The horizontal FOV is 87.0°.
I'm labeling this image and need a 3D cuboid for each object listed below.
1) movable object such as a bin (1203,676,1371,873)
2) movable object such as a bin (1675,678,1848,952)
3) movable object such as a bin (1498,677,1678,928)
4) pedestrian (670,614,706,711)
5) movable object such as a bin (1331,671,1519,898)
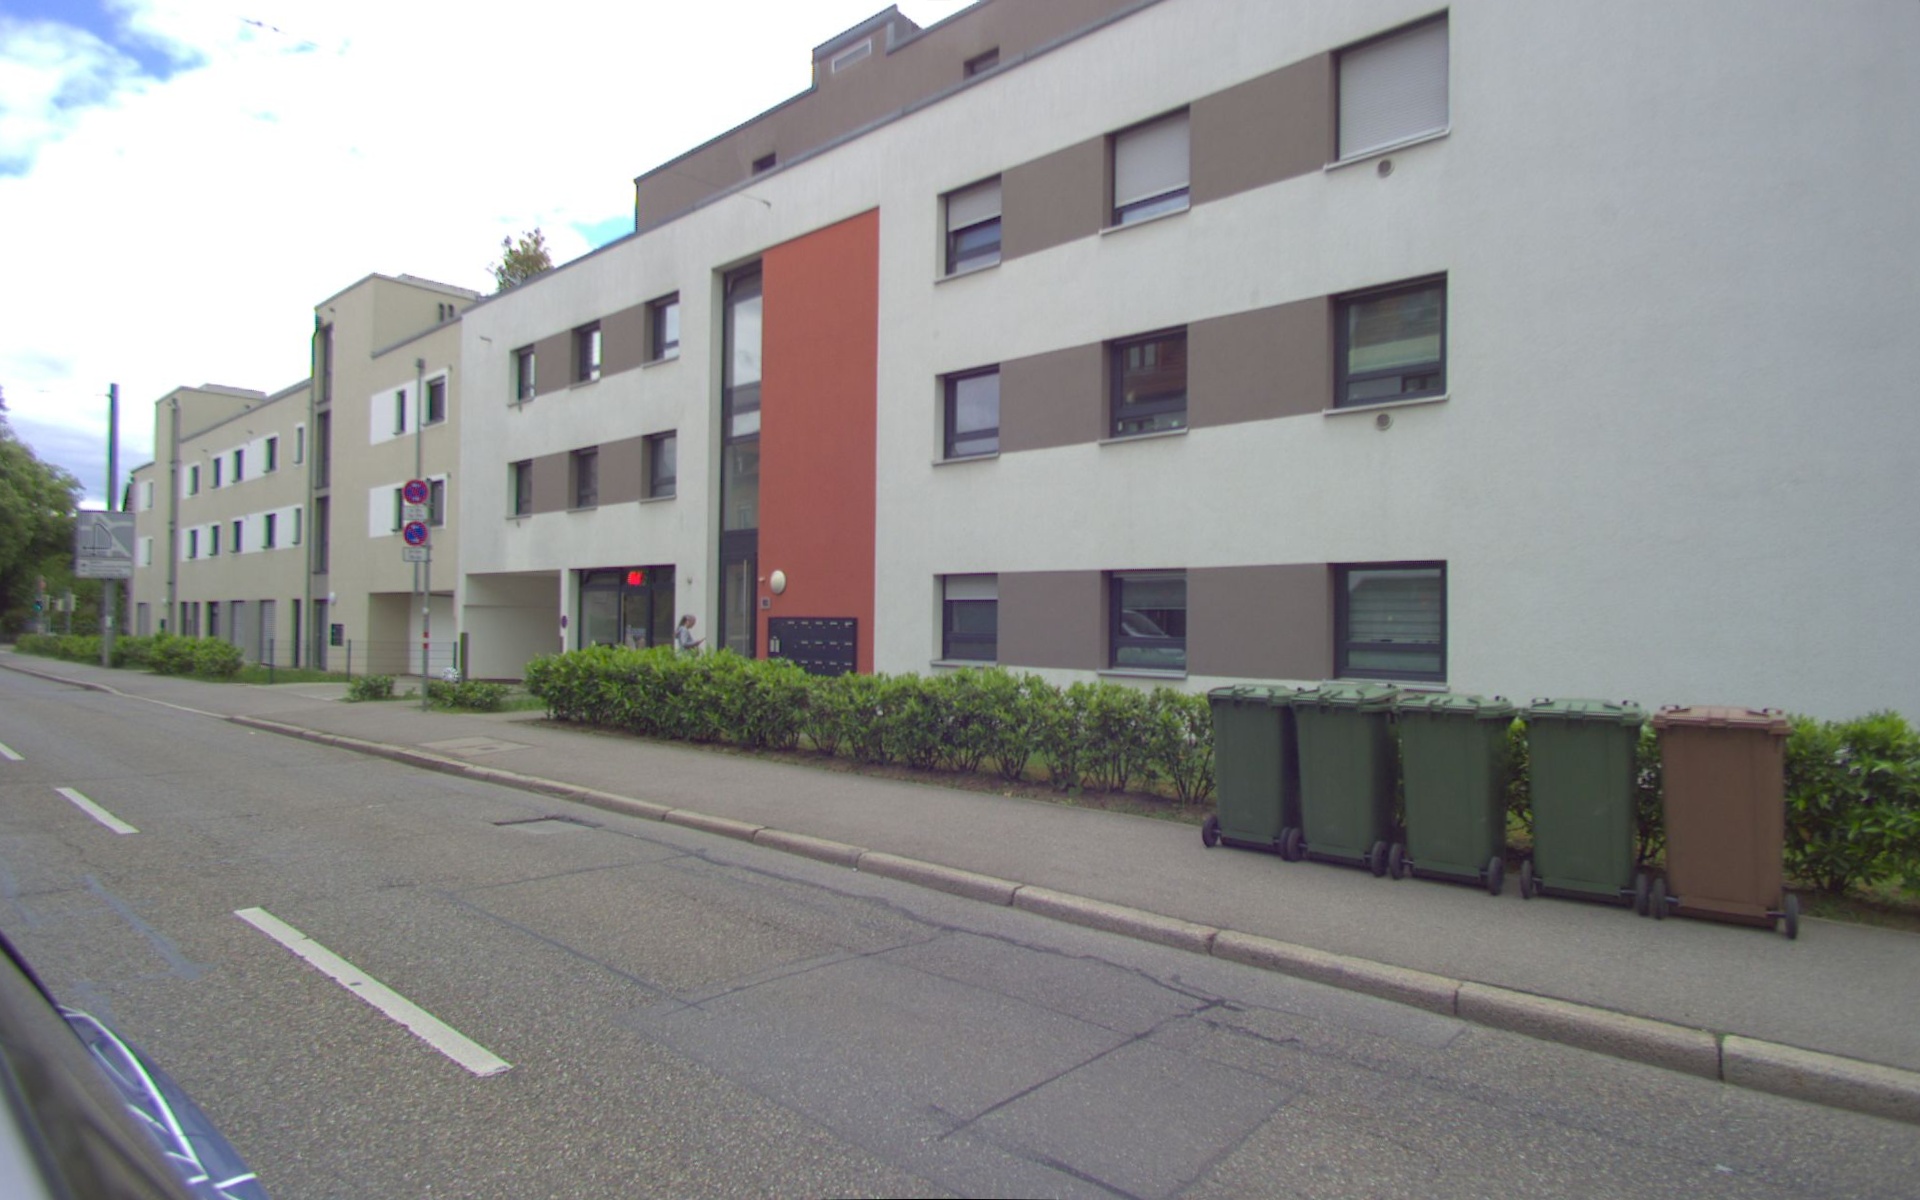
[{"bbox_3d":[2.128,1.072,6.558,0.791,1.097,0.886,-1,-2,37],"label":"movable object such as a bin"},{"bbox_3d":[3.990,1.003,5.088,0.612,1.160,0.932,-1,-2,37],"label":"movable object such as a bin"},{"bbox_3d":[3.446,1.028,5.531,0.748,1.160,0.940,-1,-2,37],"label":"movable object such as a bin"},{"bbox_3d":[-4.782,1.086,17.785,0.511,1.655,0.642,1,-2,-25],"label":"pedestrian"},{"bbox_3d":[2.796,1.030,6.063,0.839,1.160,0.947,-1,-2,37],"label":"movable object such as a bin"}]
